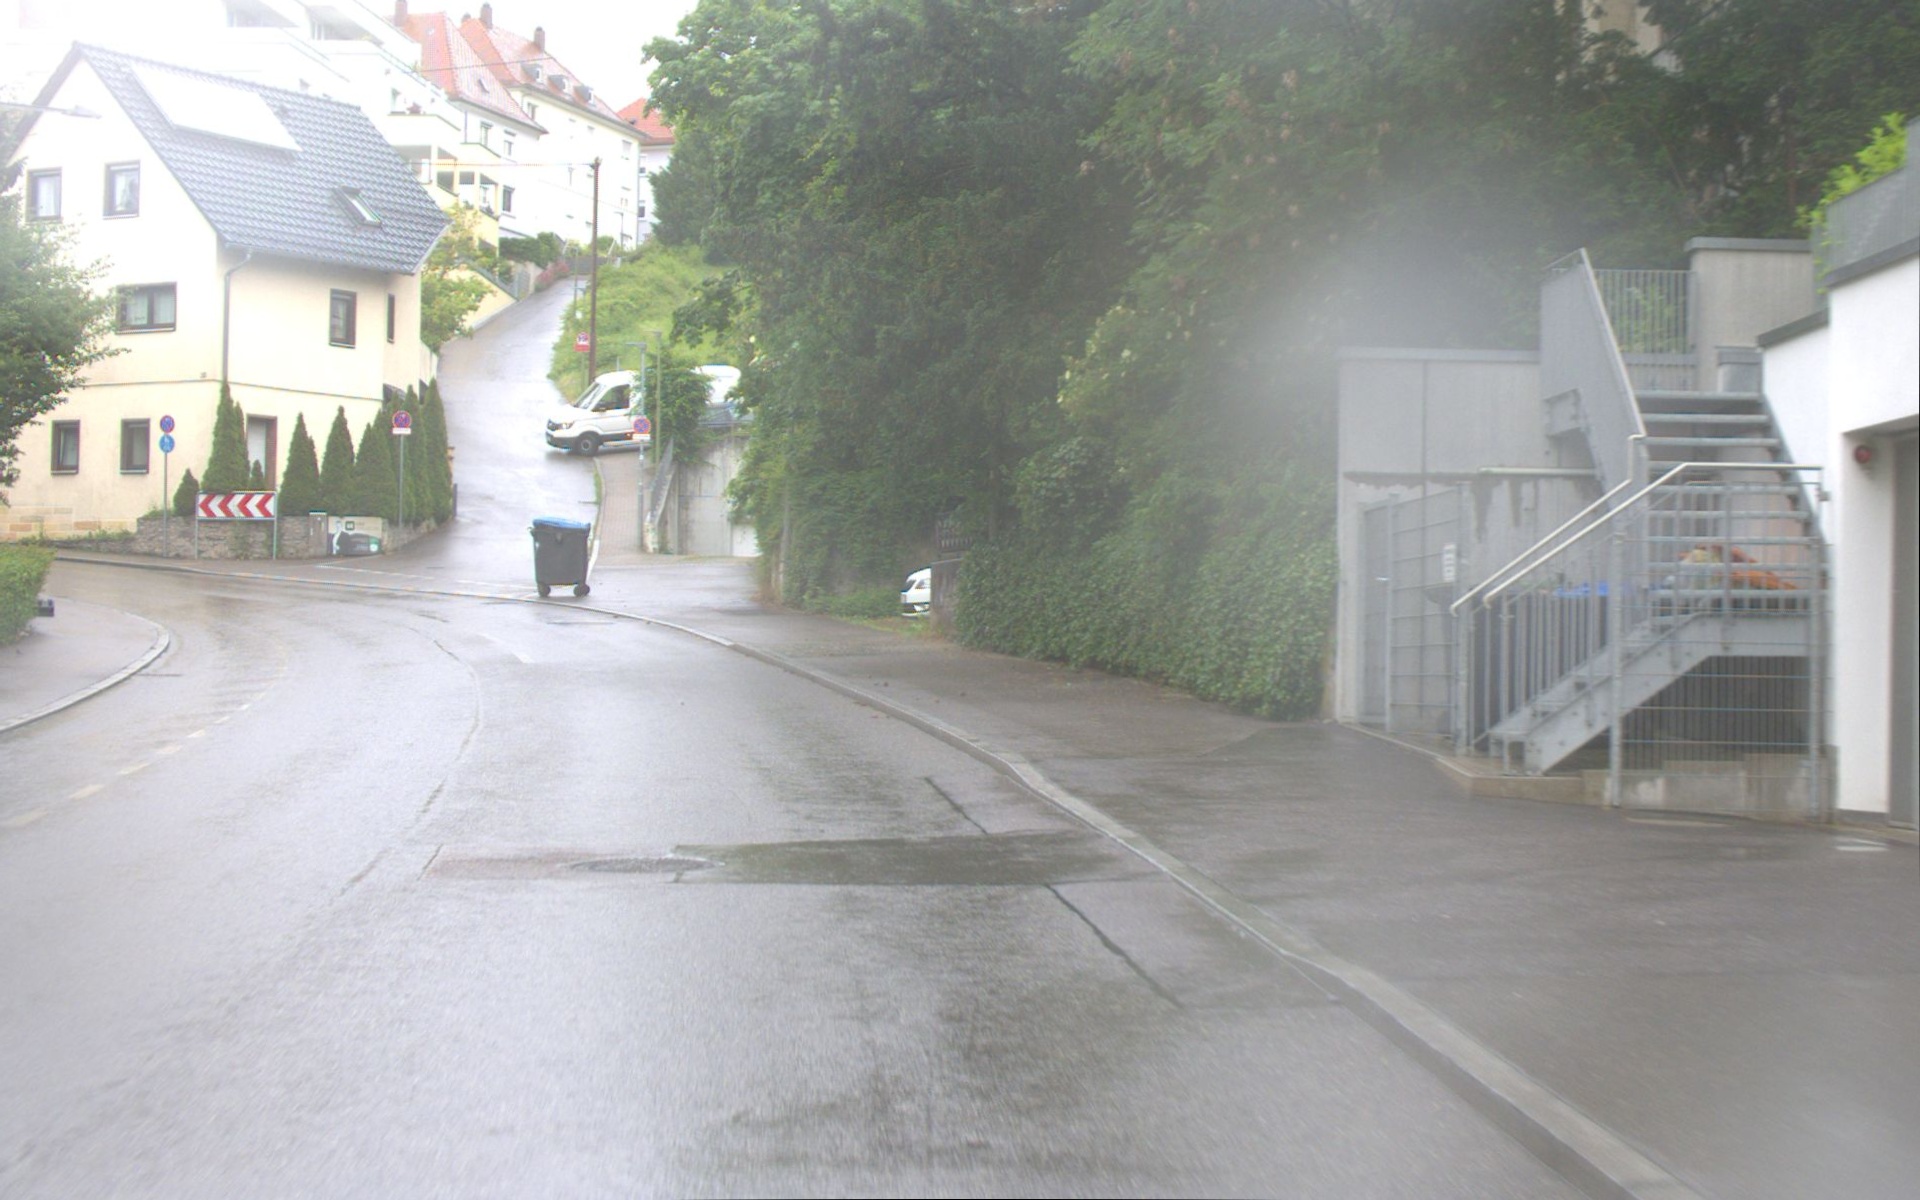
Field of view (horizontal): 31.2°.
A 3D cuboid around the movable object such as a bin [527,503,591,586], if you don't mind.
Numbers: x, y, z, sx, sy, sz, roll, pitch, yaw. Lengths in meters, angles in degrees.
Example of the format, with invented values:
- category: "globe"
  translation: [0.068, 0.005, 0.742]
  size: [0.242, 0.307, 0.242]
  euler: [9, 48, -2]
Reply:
- category: "movable object such as a bin"
  translation: [-7.197, -1.012, 61.809]
  size: [1.081, 1.437, 1.458]
  euler: [1, 2, -5]

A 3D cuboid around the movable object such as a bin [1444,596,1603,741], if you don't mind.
- category: "movable object such as a bin"
  translation: [3.762, 0.450, 22.995]
  size: [0.874, 0.938, 0.746]
  euler: [0, 1, -6]

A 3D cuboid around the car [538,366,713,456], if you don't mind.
- category: "car"
  translation: [-10.027, -5.650, 102.950]
  size: [4.941, 2.560, 1.905]
  euler: [-2, 2, -12]

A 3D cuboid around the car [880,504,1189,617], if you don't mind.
- category: "car"
  translation: [1.036, -0.585, 49.312]
  size: [4.142, 1.471, 1.905]
  euler: [-2, 2, -8]
